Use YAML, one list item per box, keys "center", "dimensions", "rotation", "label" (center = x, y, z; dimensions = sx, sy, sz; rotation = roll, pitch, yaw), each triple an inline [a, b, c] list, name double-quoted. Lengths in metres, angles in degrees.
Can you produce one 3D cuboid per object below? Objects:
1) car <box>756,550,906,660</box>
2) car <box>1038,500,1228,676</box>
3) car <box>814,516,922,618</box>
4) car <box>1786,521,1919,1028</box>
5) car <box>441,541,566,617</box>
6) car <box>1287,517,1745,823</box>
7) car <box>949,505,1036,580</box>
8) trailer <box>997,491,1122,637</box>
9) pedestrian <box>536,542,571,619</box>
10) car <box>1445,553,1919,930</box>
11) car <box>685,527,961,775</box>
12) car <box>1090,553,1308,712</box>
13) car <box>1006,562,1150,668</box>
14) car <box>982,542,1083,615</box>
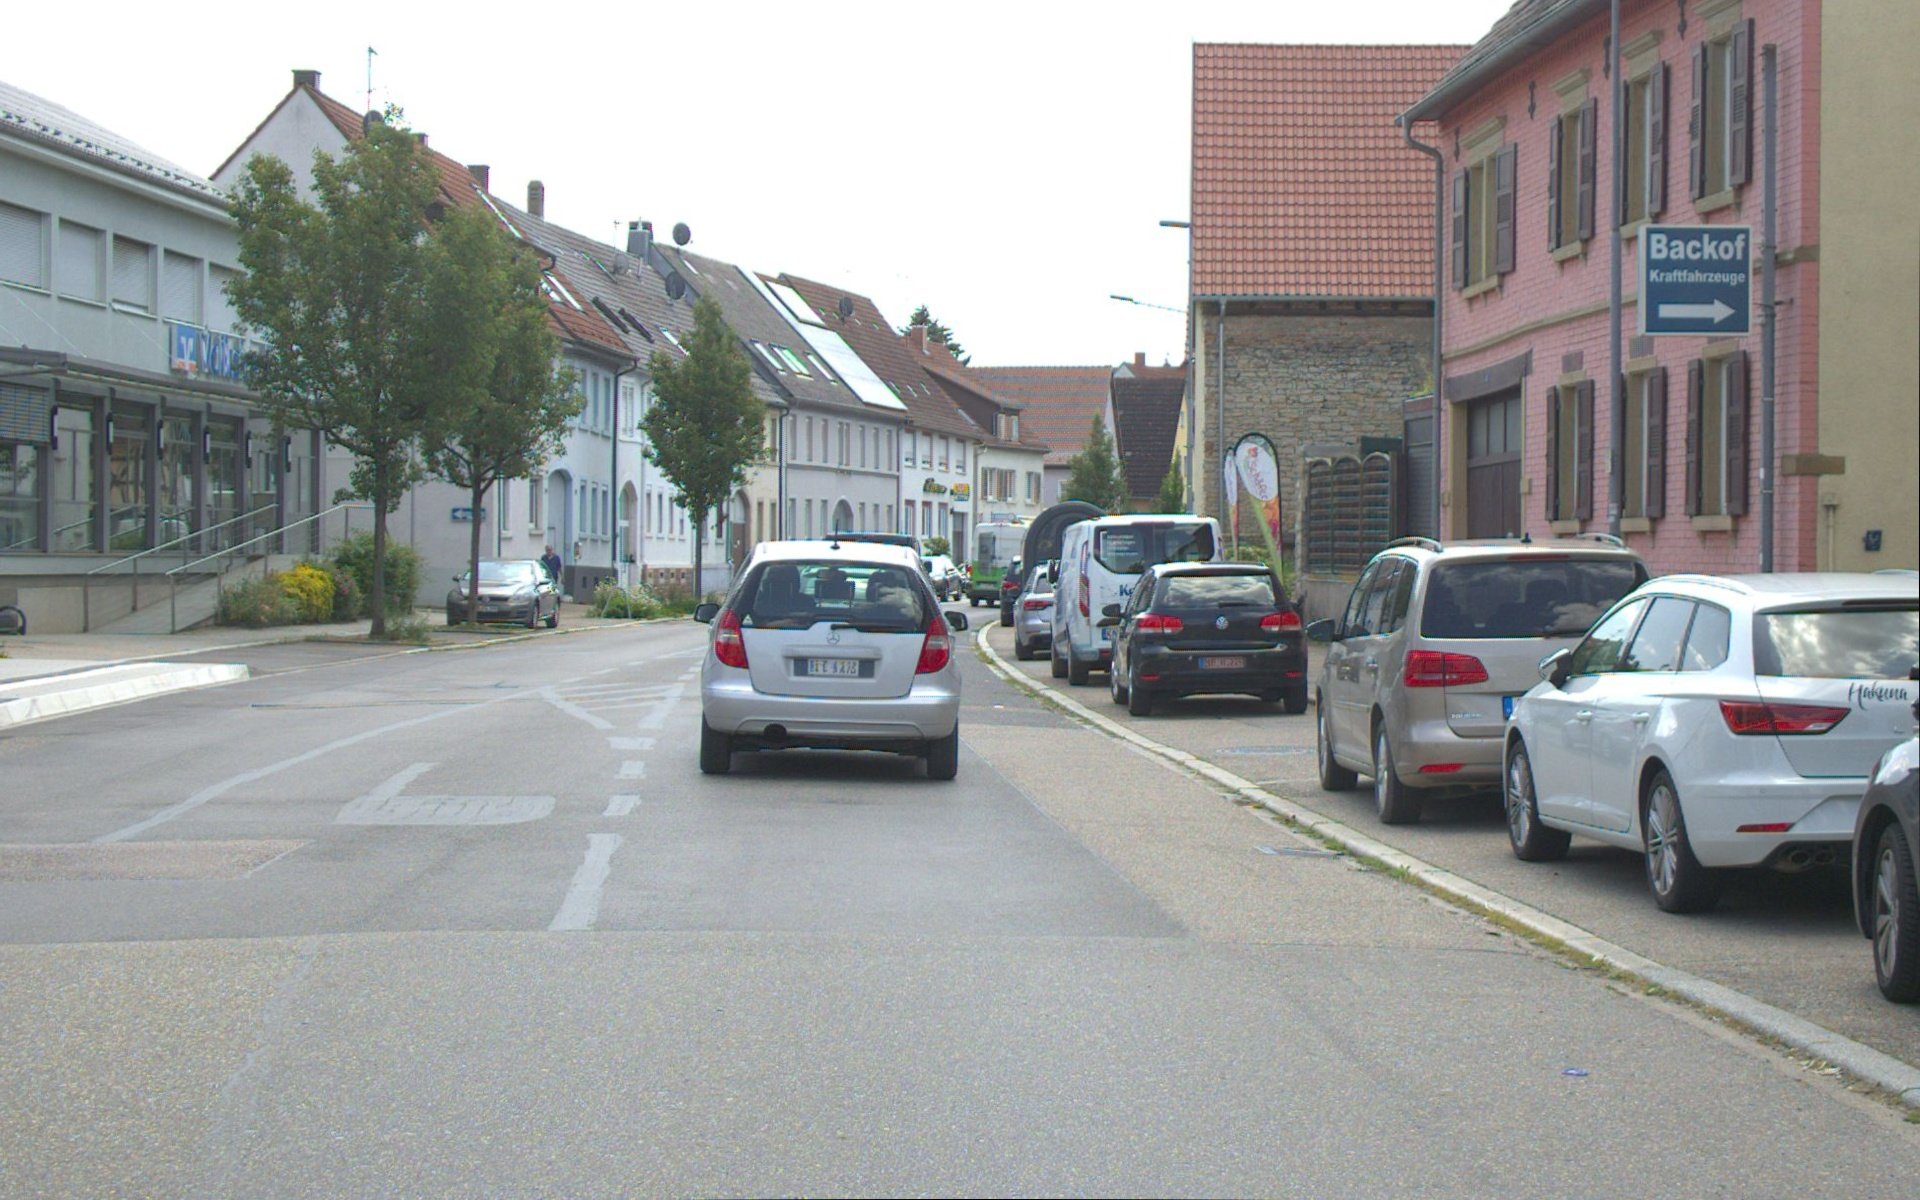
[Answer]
- center: [-1.761, 0.043, 46.959]
  dimensions: [1.945, 1.402, 4.000]
  rotation: [1, 1, -2]
  label: "car"
- center: [2.046, -0.170, 41.969]
  dimensions: [1.892, 1.975, 4.931]
  rotation: [-2, 1, -2]
  label: "car"
- center: [-1.801, -0.632, 68.685]
  dimensions: [1.769, 1.881, 4.446]
  rotation: [3, 0, 2]
  label: "car"
- center: [3.936, 0.570, 10.355]
  dimensions: [1.662, 1.619, 4.272]
  rotation: [0, 1, -3]
  label: "car"
- center: [-9.230, -0.446, 69.802]
  dimensions: [1.804, 1.455, 4.158]
  rotation: [1, 1, 2]
  label: "car"
- center: [3.265, 0.360, 21.074]
  dimensions: [1.993, 1.675, 4.323]
  rotation: [0, 1, -2]
  label: "car"
- center: [1.016, -1.732, 105.247]
  dimensions: [2.236, 2.215, 3.999]
  rotation: [0, 0, 7]
  label: "car"
- center: [1.621, -0.606, 57.220]
  dimensions: [1.845, 2.346, 3.590]
  rotation: [0, 1, -2]
  label: "trailer"
- center: [-9.564, -0.453, 80.931]
  dimensions: [0.739, 1.795, 0.642]
  rotation: [0, 0, 0]
  label: "pedestrian"
- center: [3.766, 0.546, 16.050]
  dimensions: [1.993, 1.512, 4.372]
  rotation: [0, 1, -6]
  label: "car"
- center: [-0.982, 0.322, 24.547]
  dimensions: [1.769, 1.589, 4.000]
  rotation: [1, 0, -2]
  label: "car"
- center: [2.334, 0.285, 34.499]
  dimensions: [1.774, 1.490, 4.162]
  rotation: [0, 1, -2]
  label: "car"
- center: [1.733, 0.189, 51.936]
  dimensions: [1.875, 1.476, 4.675]
  rotation: [1, 1, -1]
  label: "car"
- center: [1.575, -0.498, 76.361]
  dimensions: [1.993, 1.554, 4.000]
  rotation: [-1, 1, -2]
  label: "car"
